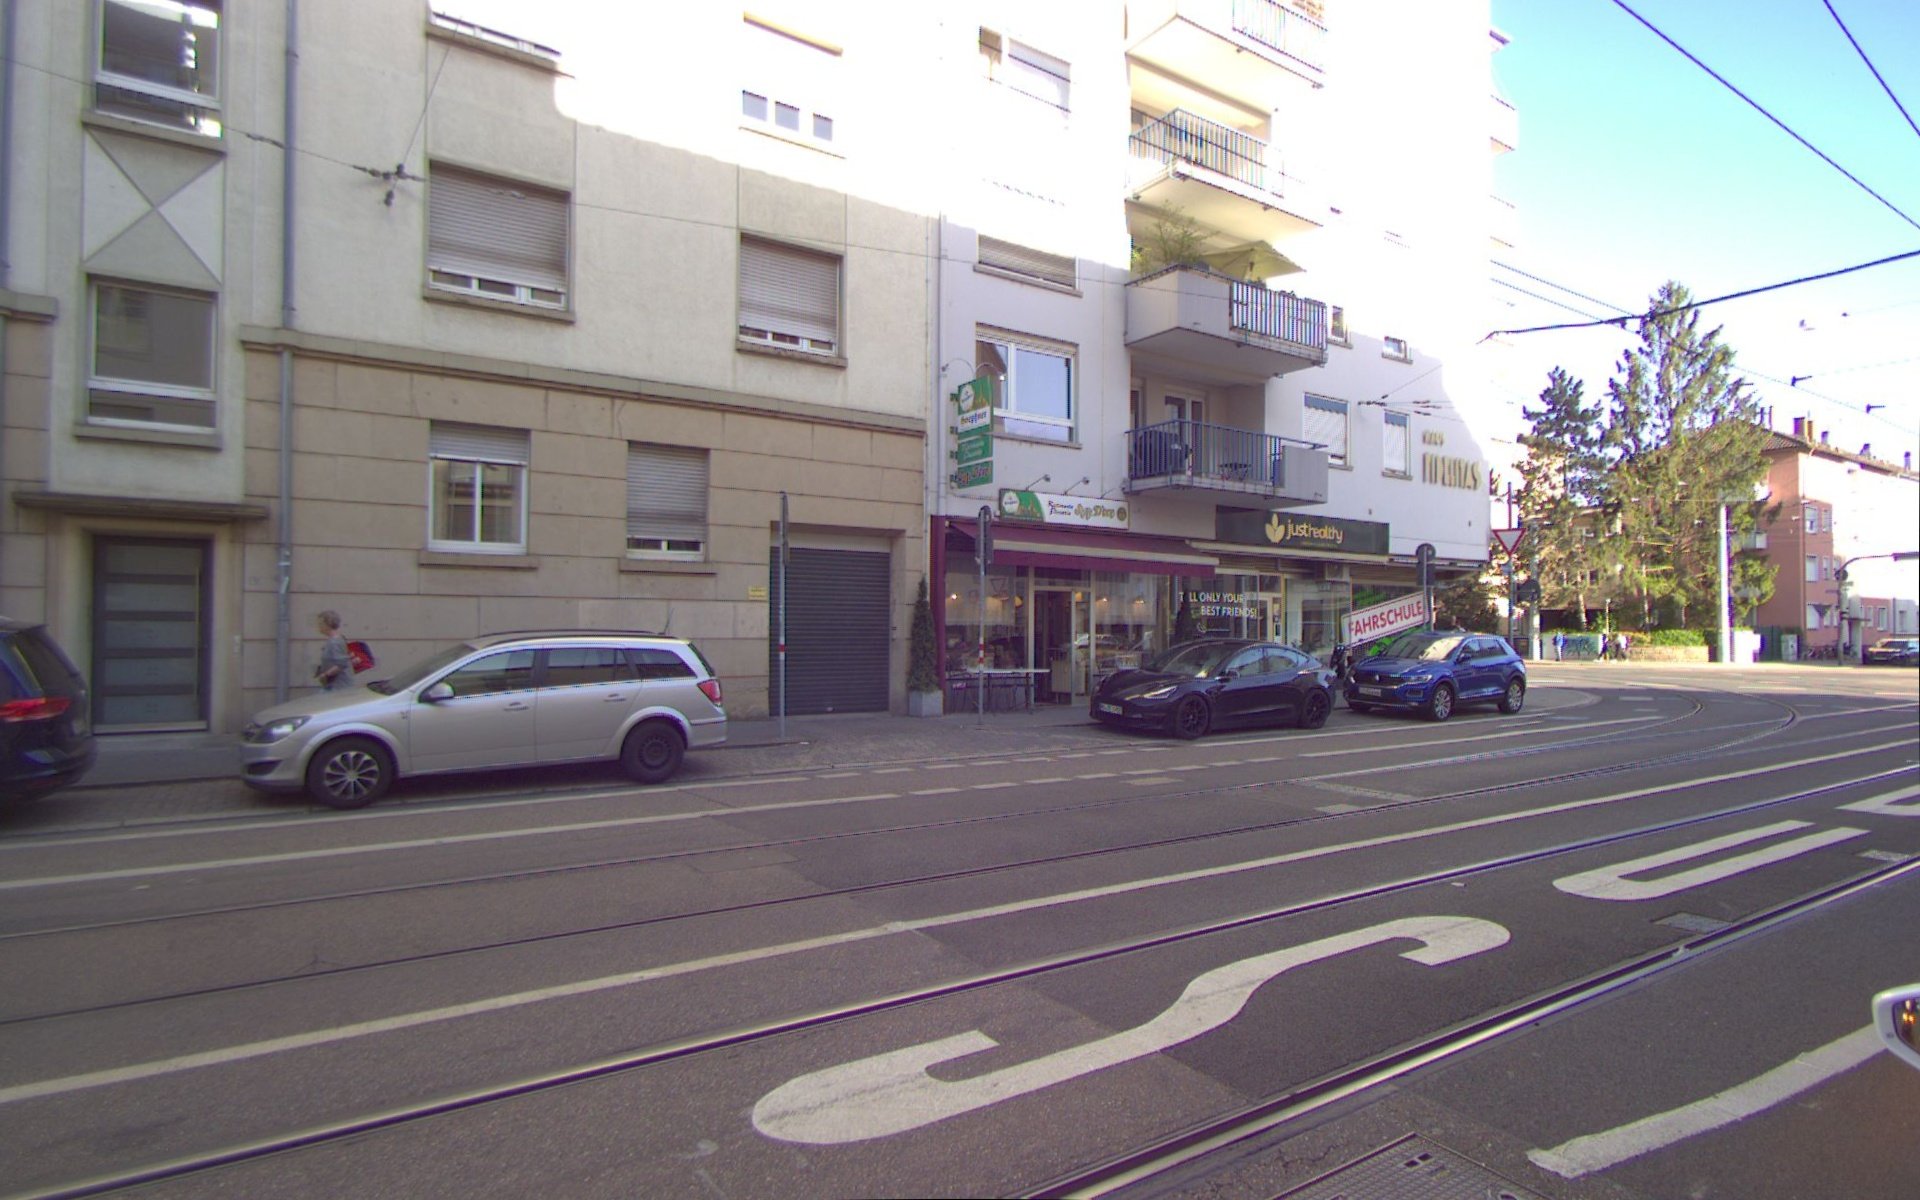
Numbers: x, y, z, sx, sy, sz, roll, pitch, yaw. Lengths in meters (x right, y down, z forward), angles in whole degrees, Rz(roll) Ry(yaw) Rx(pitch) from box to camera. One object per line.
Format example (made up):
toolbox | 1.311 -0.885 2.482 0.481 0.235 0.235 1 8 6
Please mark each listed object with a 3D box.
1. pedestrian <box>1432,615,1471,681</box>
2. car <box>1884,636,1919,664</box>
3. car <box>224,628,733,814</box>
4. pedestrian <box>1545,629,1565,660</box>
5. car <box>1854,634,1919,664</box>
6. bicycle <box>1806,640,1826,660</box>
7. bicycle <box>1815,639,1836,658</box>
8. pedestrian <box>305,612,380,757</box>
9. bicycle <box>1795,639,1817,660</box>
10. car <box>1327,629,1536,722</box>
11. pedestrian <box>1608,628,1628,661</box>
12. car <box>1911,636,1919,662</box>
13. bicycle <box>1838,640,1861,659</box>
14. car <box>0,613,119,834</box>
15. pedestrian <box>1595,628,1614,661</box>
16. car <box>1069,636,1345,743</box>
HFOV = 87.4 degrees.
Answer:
pedestrian | 14.012 1.358 28.668 0.707 1.859 0.771 0 -1 -3
car | 54.274 2.837 57.011 4.006 1.539 1.938 1 -2 -36
car | -4.705 1.058 10.208 4.343 1.497 1.785 1 -1 -34
pedestrian | 33.122 2.487 55.919 0.800 1.725 0.676 -1 -2 44
car | 49.726 2.614 53.781 3.961 1.539 1.938 1 -2 -36
bicycle | 47.179 2.733 55.338 1.895 1.097 0.532 2 -2 -41
bicycle | 50.742 2.859 58.879 1.892 1.097 0.533 1 -2 -37
pedestrian | -6.928 0.922 11.277 0.686 1.562 0.565 1 -2 -32
bicycle | 46.883 2.724 55.630 1.895 1.097 0.634 2 -2 -41
car | 8.993 1.351 19.080 4.072 1.525 1.714 1 1 -34
pedestrian | 34.528 2.348 52.714 0.798 1.725 0.604 -1 -2 37
car | 58.128 2.893 59.450 3.961 1.539 1.938 1 -2 -36
bicycle | 53.158 2.935 60.024 1.892 1.097 0.605 1 -2 -37
car | -8.992 0.889 7.186 4.343 1.620 1.785 1 -1 -34
pedestrian | 34.541 2.387 53.845 0.798 1.725 0.632 -1 -2 37
car | 4.014 1.322 16.037 4.442 1.422 1.714 1 1 -34
